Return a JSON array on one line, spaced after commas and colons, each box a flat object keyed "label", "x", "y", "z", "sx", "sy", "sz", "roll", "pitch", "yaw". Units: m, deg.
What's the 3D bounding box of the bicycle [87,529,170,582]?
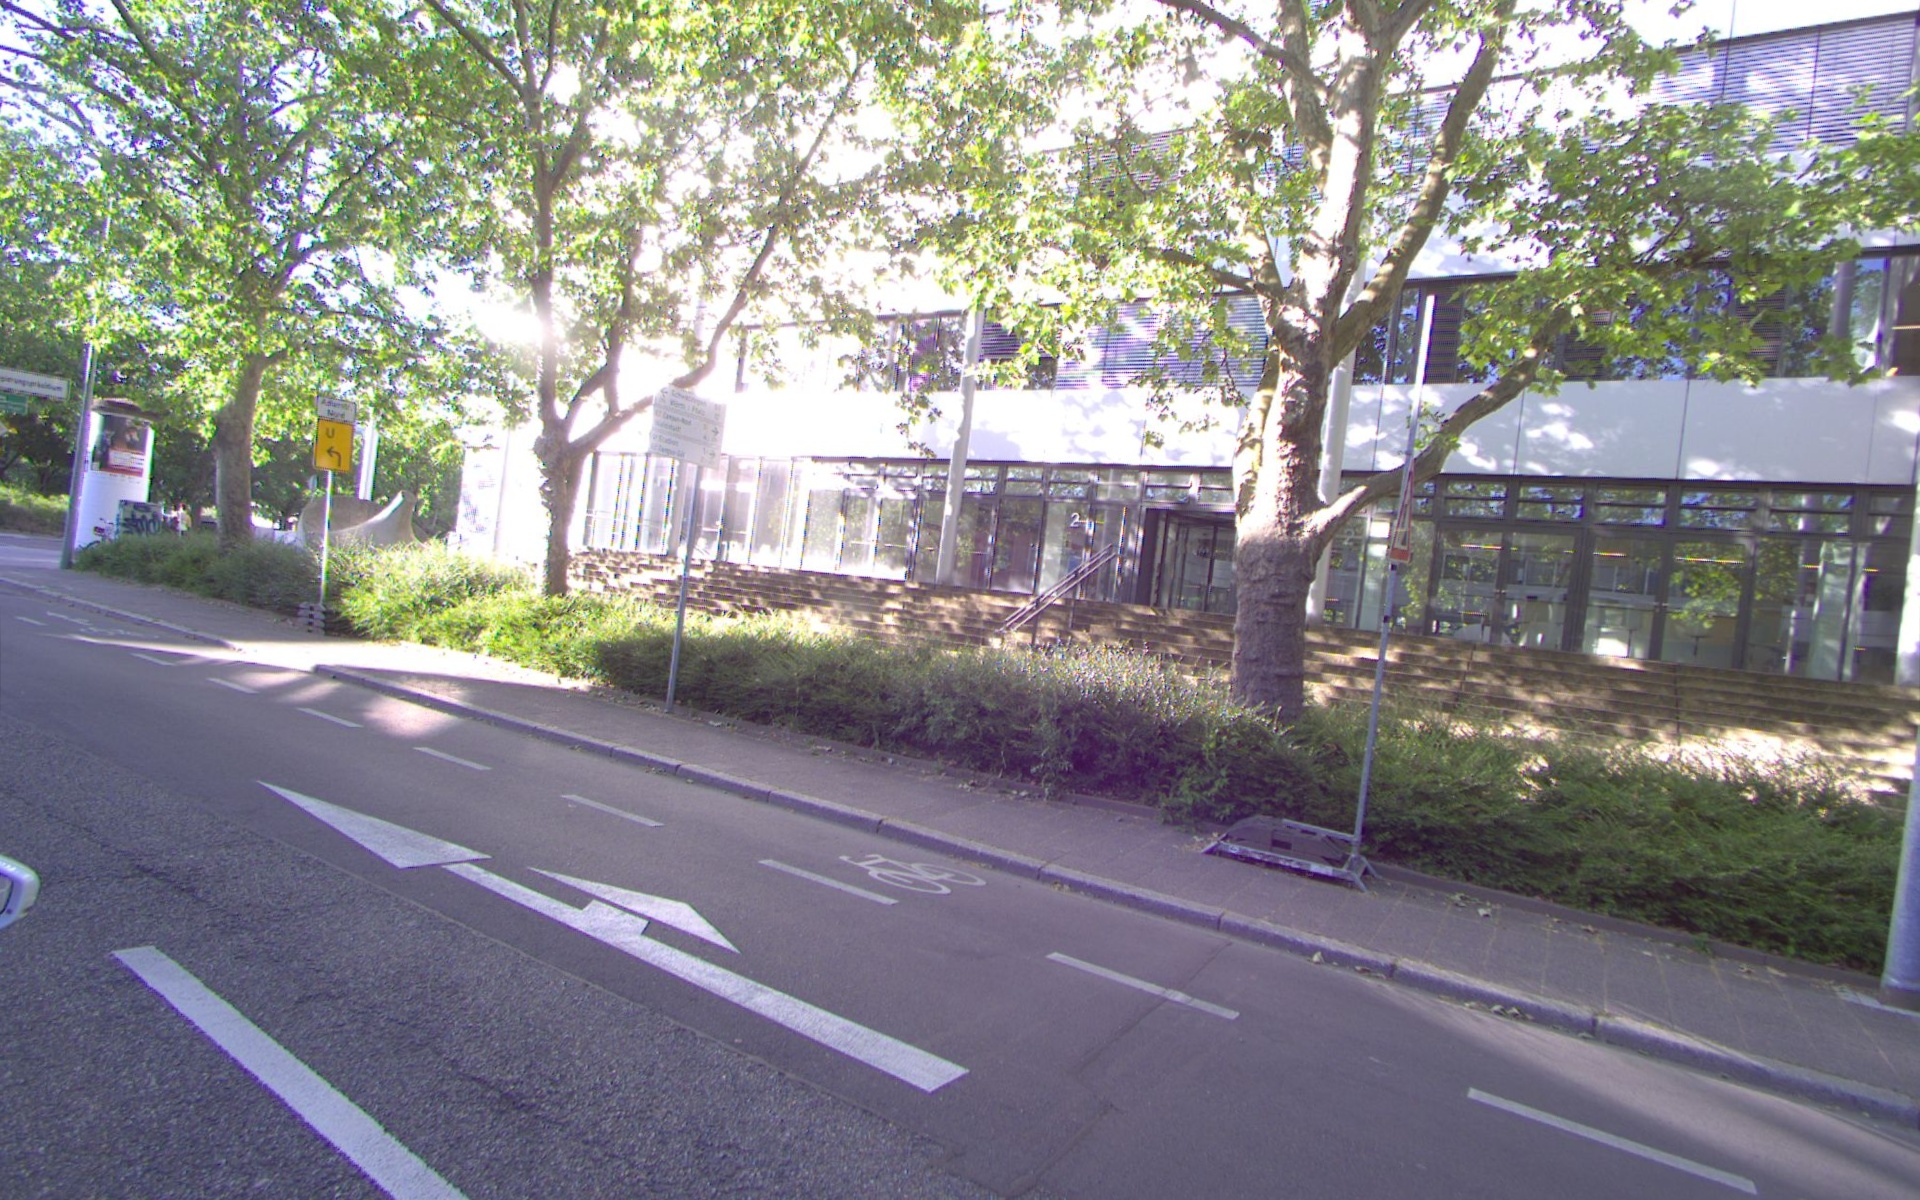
[{"label": "bicycle", "x": -19.158, "y": -1.005, "z": 23.204, "sx": 0.357, "sy": 1.036, "sz": 1.354, "roll": 7, "pitch": -1, "yaw": 33}]

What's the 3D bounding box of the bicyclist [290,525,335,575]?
[{"label": "bicyclist", "x": -24.072, "y": -1.859, "z": 37.402, "sx": 0.754, "sy": 1.634, "sz": 1.040, "roll": 11, "pitch": 2, "yaw": 33}]

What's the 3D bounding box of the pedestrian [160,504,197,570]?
[{"label": "pedestrian", "x": -23.471, "y": -1.893, "z": 30.225, "sx": 0.584, "sy": 1.871, "sz": 0.552, "roll": 7, "pitch": 0, "yaw": 33}]

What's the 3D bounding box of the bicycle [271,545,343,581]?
[{"label": "bicycle", "x": -24.228, "y": -1.354, "z": 37.353, "sx": 0.754, "sy": 0.992, "sz": 2.009, "roll": 11, "pitch": 1, "yaw": 33}]
